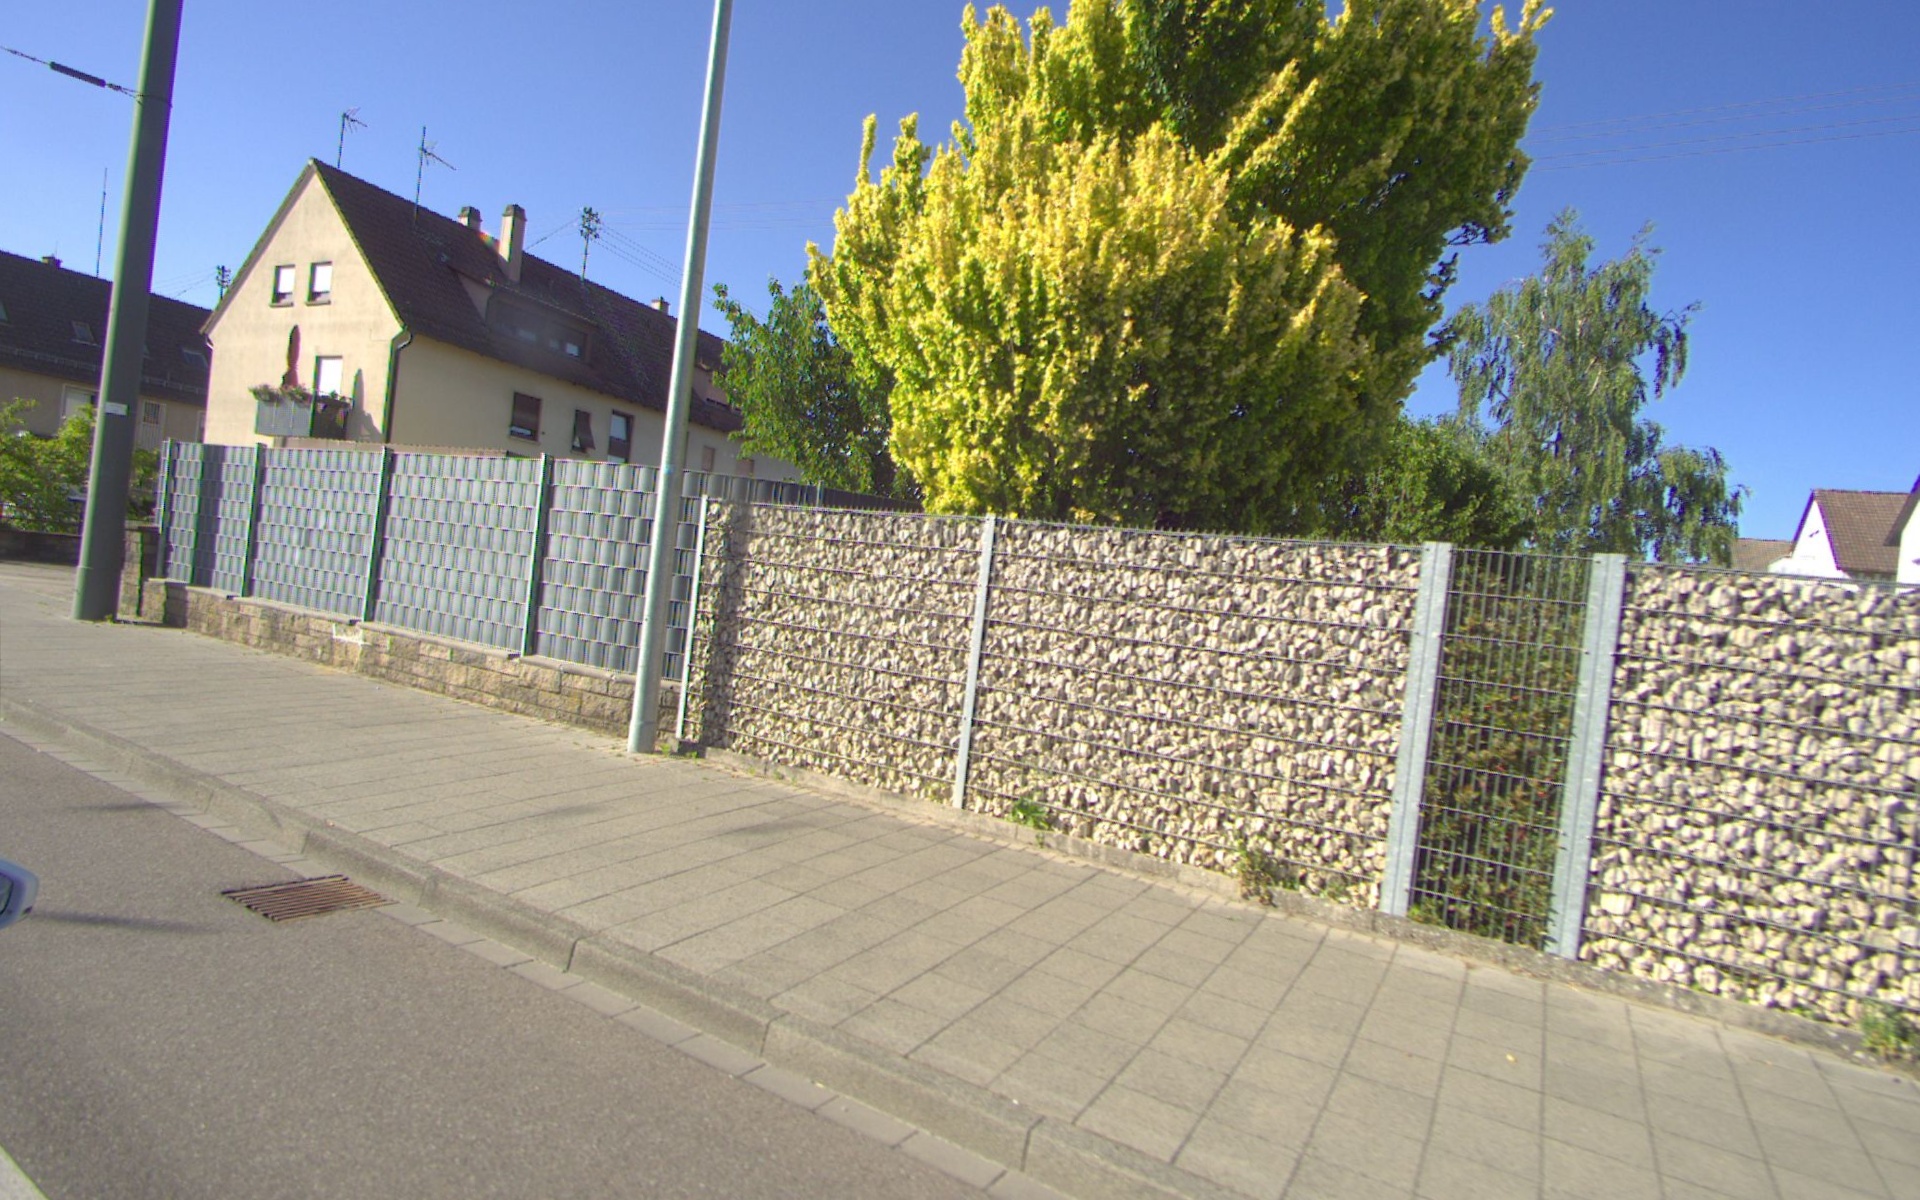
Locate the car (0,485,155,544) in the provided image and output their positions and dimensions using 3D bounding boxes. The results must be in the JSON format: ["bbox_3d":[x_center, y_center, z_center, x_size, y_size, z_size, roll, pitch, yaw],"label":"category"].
[{"bbox_3d":[-31.861,-3.043,36.135,1.770,1.530,4.148,5,-1,26],"label":"car"}]
